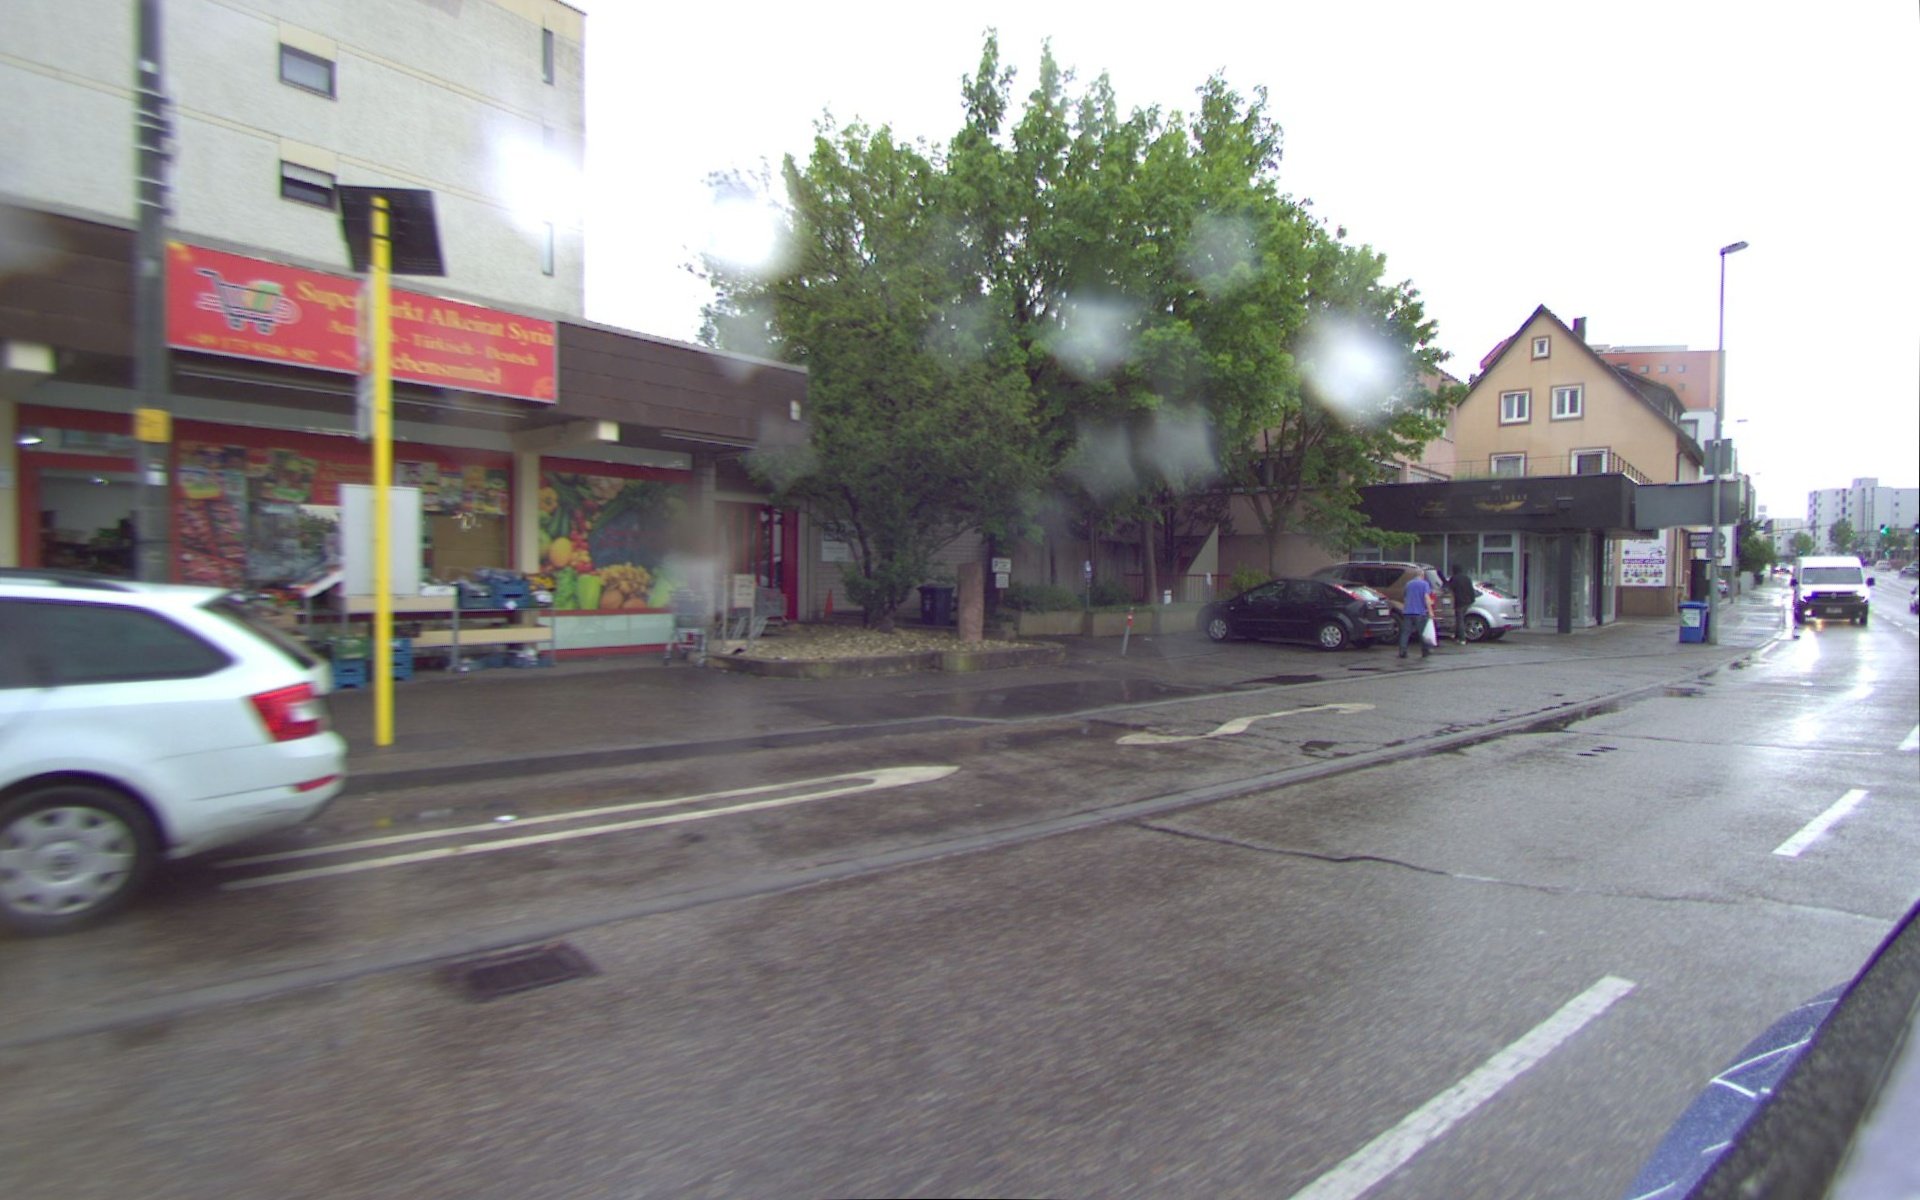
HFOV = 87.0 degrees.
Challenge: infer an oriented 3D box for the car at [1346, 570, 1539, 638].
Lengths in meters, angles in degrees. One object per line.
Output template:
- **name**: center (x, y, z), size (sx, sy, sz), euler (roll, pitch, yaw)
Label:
- **car**: center (11.980, 0.034, 25.279), size (1.718, 1.465, 3.991), euler (-1, 3, -44)

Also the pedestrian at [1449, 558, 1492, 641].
- **pedestrian**: center (11.653, -0.027, 23.120), size (0.700, 1.843, 0.793), euler (0, 3, 15)

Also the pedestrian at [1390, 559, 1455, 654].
- **pedestrian**: center (8.834, 0.107, 19.324), size (0.875, 1.758, 0.748), euler (3, 2, 43)

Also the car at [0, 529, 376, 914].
- **car**: center (-5.014, 0.441, 4.104), size (4.398, 1.516, 1.736), euler (0, 3, -38)

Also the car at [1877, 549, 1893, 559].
- **car**: center (161.590, -8.057, 176.812), size (2.001, 1.637, 4.874), euler (3, 5, 43)

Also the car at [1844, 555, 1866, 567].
- **car**: center (118.580, -5.221, 134.053), size (1.711, 1.467, 4.146), euler (2, 4, 36)

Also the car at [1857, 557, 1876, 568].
- **car**: center (129.024, -5.399, 144.064), size (1.765, 1.430, 4.464), euler (2, 5, 39)

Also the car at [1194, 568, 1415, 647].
- **car**: center (7.346, 0.083, 21.825), size (4.148, 1.471, 1.775), euler (3, 3, 43)

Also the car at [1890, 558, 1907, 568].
- **car**: center (141.884, -5.597, 153.067), size (1.648, 1.434, 4.080), euler (5, 6, 40)

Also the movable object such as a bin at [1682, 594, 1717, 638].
- **movable object such as a bin**: center (19.261, 0.416, 26.357), size (0.636, 1.088, 0.687), euler (3, 1, 44)

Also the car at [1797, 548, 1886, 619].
- **car**: center (33.667, -0.754, 38.818), size (2.288, 2.410, 6.534), euler (2, 4, 39)

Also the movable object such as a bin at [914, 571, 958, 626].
- **movable object such as a bin**: center (-0.492, -0.041, 20.635), size (0.643, 1.069, 0.632), euler (2, 2, 40)

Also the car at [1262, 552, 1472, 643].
- **car**: center (9.326, -0.134, 23.399), size (1.845, 1.894, 4.098), euler (-1, 3, -44)
